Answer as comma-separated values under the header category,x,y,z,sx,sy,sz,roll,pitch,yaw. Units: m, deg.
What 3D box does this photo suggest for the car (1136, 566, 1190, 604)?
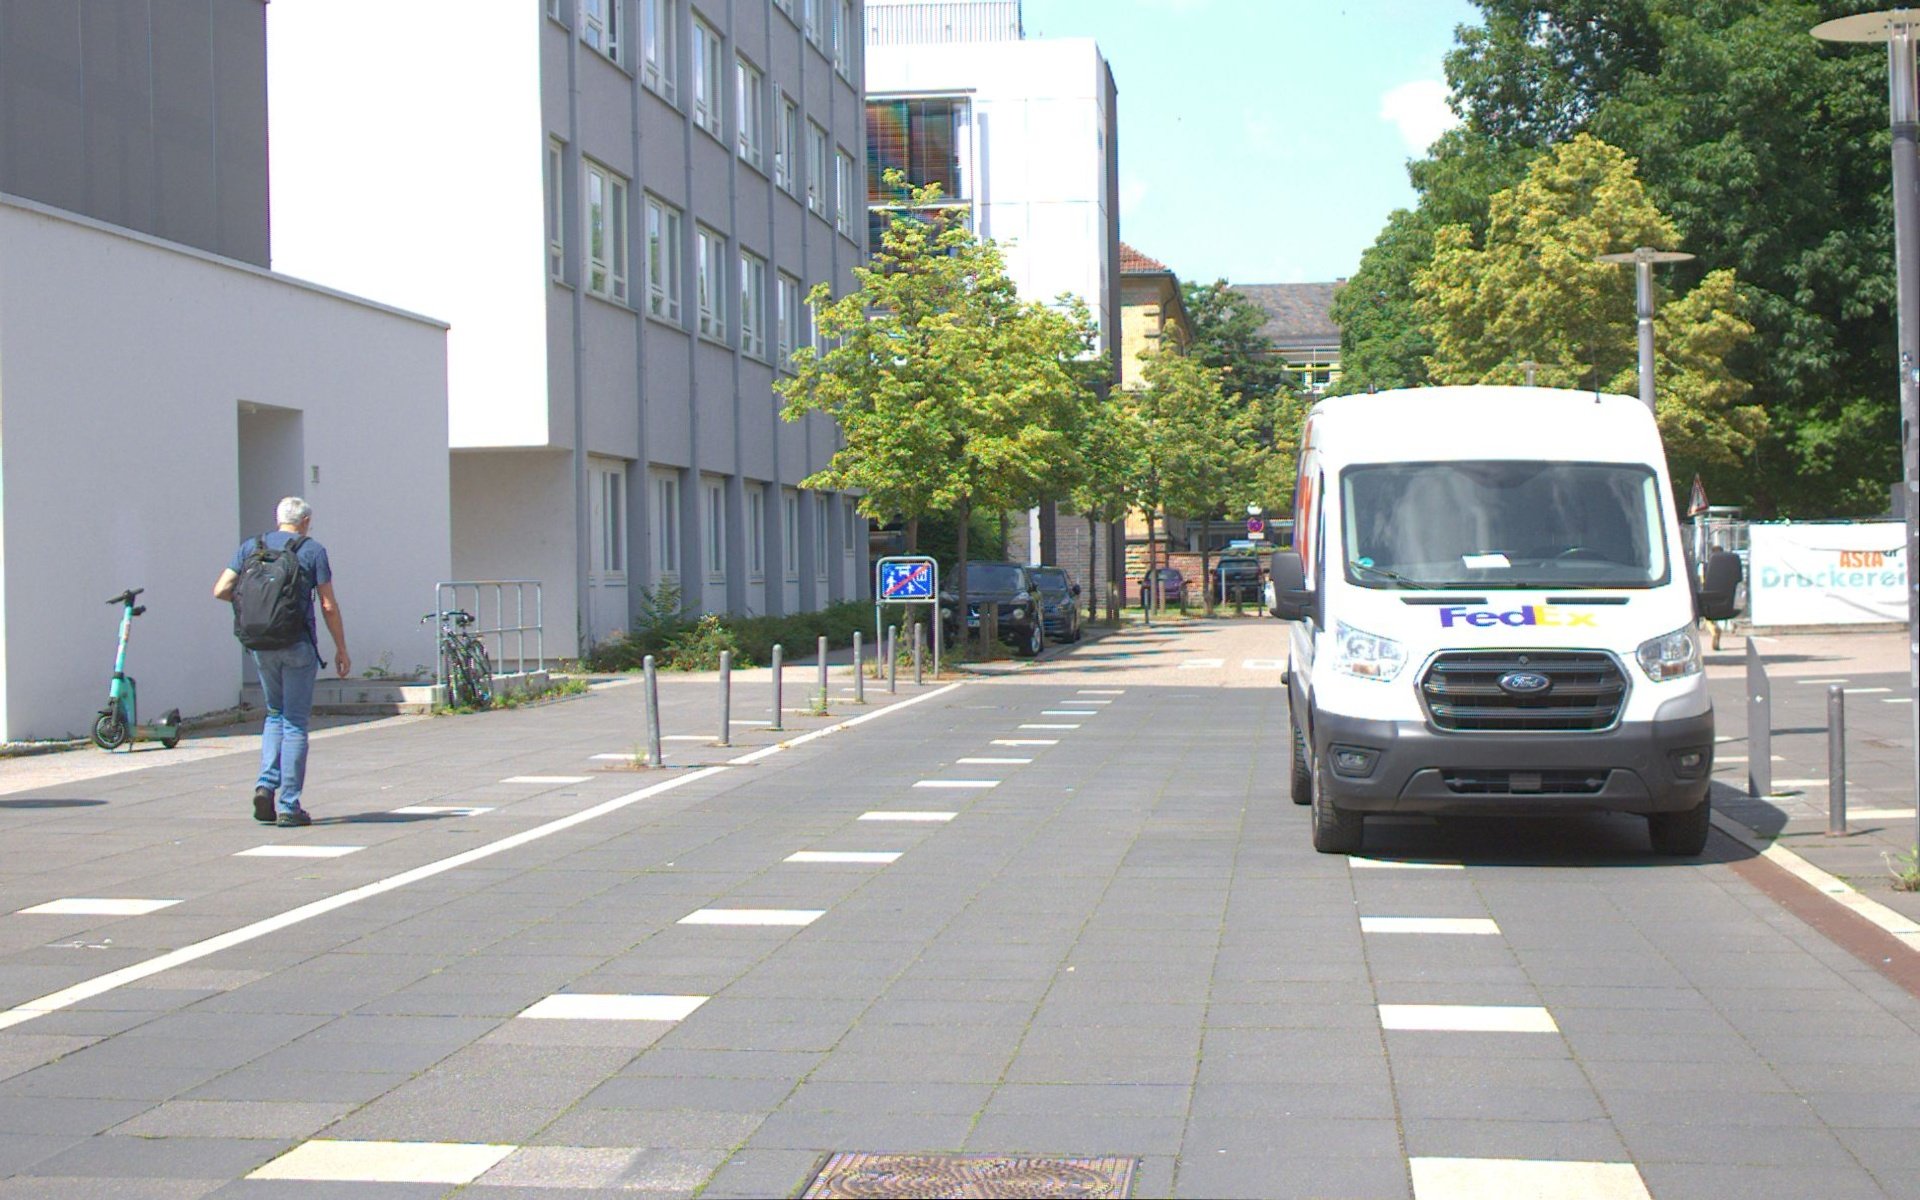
category,x,y,z,sx,sy,sz,roll,pitch,yaw
car,7.195,-0.540,121.749,1.817,1.319,3.767,-1,0,5

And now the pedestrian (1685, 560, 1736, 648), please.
category,x,y,z,sx,sy,sz,roll,pitch,yaw
pedestrian,11.413,0.061,52.283,0.696,1.326,0.715,-1,0,10

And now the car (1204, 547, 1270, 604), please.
category,x,y,z,sx,sy,sz,roll,pitch,yaw
car,9.763,-0.863,121.513,2.175,1.919,5.185,-1,0,4

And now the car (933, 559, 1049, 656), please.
category,x,y,z,sx,sy,sz,roll,pitch,yaw
car,0.557,0.098,58.158,1.697,1.558,4.067,-1,1,4

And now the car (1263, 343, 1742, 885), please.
category,x,y,z,sx,sy,sz,roll,pitch,yaw
car,2.824,0.038,19.218,2.059,2.534,5.849,-1,1,4

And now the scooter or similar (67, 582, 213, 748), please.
category,x,y,z,sx,sy,sz,roll,pitch,yaw
scooter or similar,-6.391,0.493,26.845,0.483,1.259,1.312,-1,0,18

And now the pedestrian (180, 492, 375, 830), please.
category,x,y,z,sx,sy,sz,roll,pitch,yaw
pedestrian,-3.773,0.325,19.098,0.823,1.811,1.144,-1,0,0

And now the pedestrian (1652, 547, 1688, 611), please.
category,x,y,z,sx,sy,sz,roll,pitch,yaw
pedestrian,18.911,-0.565,91.588,0.743,1.704,0.564,-1,0,-30

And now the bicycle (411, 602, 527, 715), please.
category,x,y,z,sx,sy,sz,roll,pitch,yaw
bicycle,-4.844,0.567,33.998,0.543,1.058,1.898,-1,1,10

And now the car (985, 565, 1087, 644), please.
category,x,y,z,sx,sy,sz,roll,pitch,yaw
car,1.495,0.059,66.360,1.778,1.456,4.258,0,1,4
